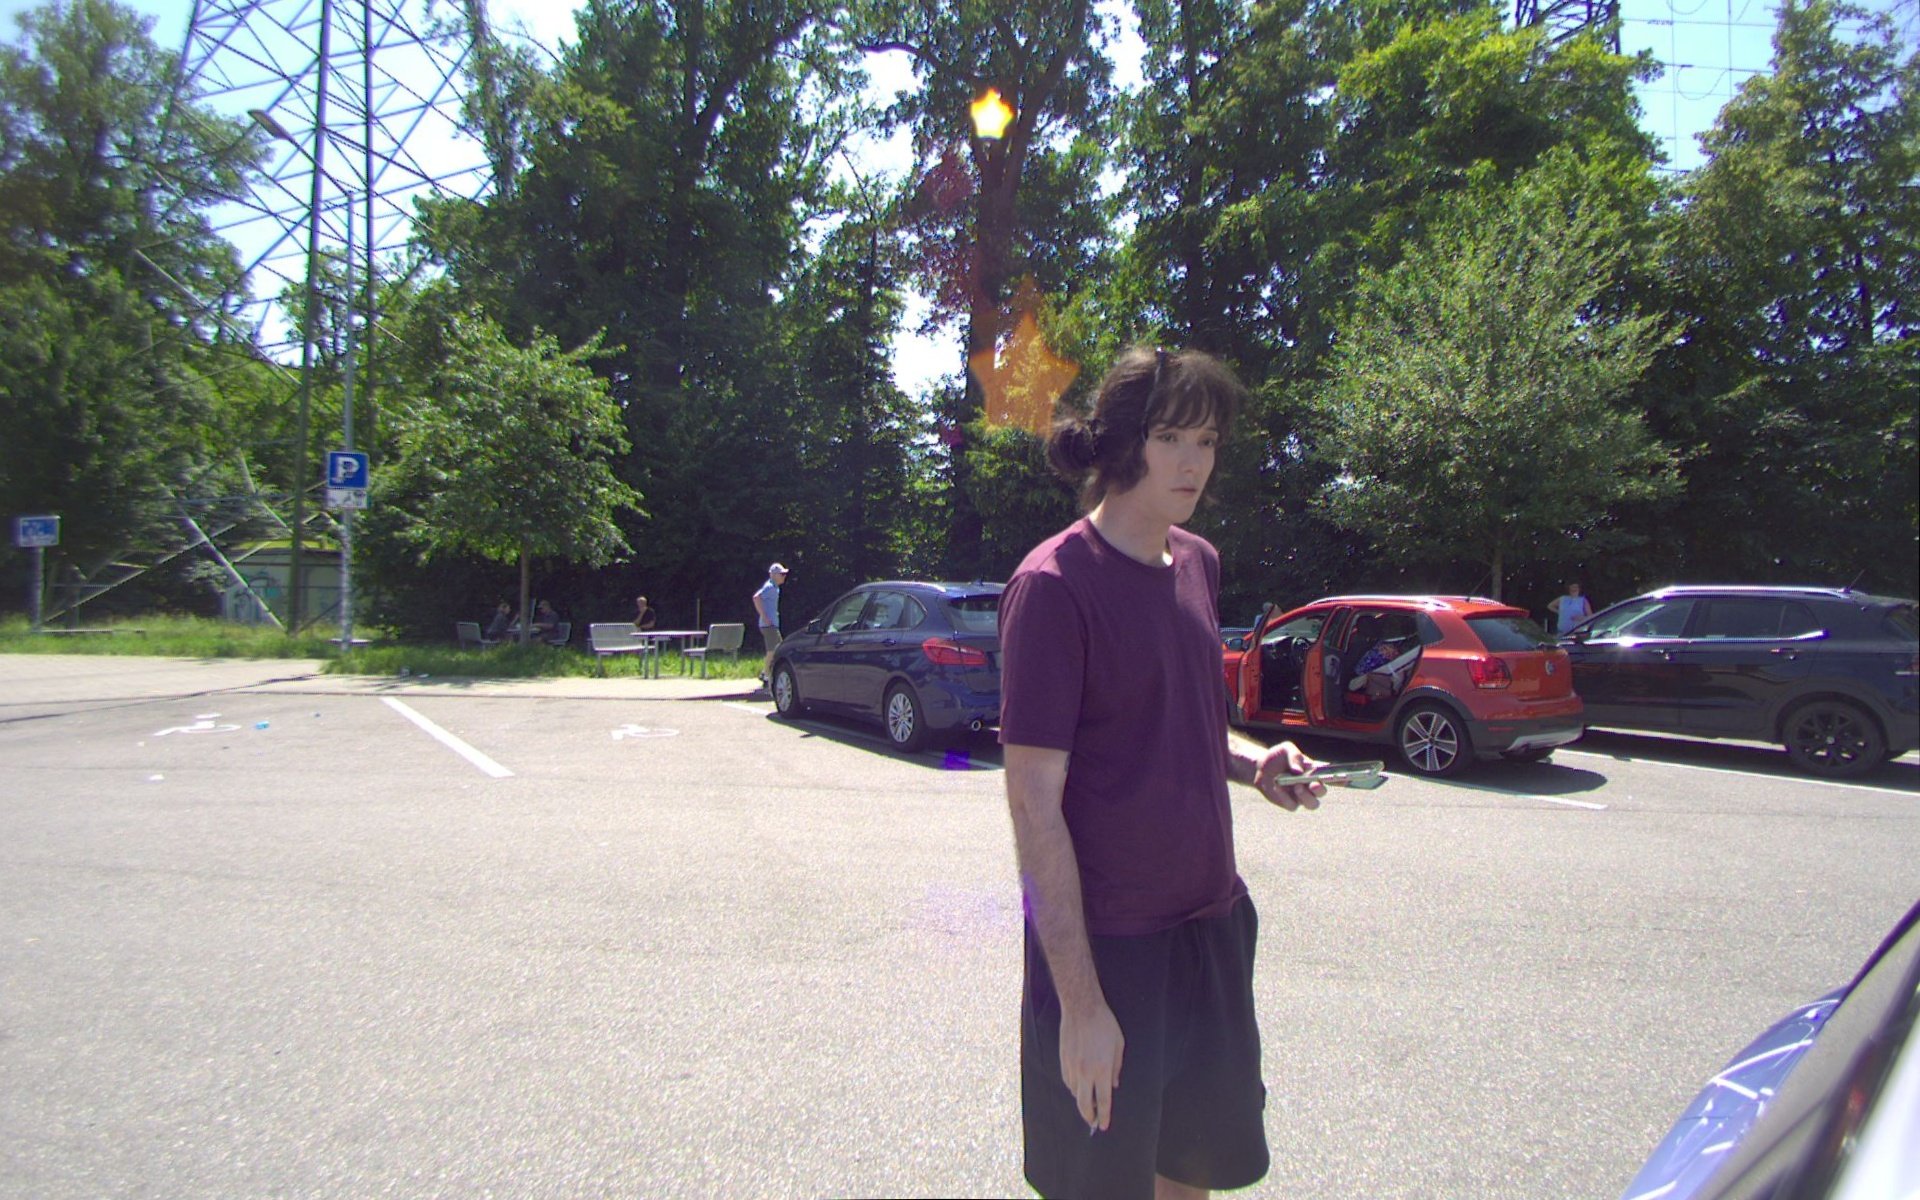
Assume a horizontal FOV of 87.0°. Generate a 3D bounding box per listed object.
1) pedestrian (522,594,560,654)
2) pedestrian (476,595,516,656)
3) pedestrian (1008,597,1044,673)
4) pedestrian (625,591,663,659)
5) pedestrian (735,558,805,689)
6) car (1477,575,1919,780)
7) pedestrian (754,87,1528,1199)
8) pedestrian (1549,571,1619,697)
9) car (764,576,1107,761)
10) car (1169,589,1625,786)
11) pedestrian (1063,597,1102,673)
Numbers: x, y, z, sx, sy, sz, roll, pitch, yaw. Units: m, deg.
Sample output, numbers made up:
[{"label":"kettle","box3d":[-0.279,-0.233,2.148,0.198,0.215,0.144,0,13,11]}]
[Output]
[{"label":"pedestrian","box3d":[-9.721,0.545,23.482,0.687,1.352,0.563,0,0,-40]},{"label":"pedestrian","box3d":[-10.479,0.555,22.844,0.687,1.352,0.563,0,0,-40]},{"label":"pedestrian","box3d":[1.107,0.584,17.084,0.576,1.251,0.697,0,-1,1]},{"label":"pedestrian","box3d":[-6.650,0.520,21.320,0.553,1.408,0.700,0,0,2]},{"label":"pedestrian","box3d":[-2.640,0.308,14.088,0.666,1.754,0.830,0,0,14]},{"label":"car","box3d":[7.257,0.594,9.710,1.707,1.607,3.732,1,0,-39]},{"label":"pedestrian","box3d":[0.258,0.416,1.601,0.846,1.857,0.864,0,0,-38]},{"label":"pedestrian","box3d":[9.421,0.504,15.301,0.754,1.854,0.519,0,0,13]},{"label":"car","box3d":[-0.445,0.556,10.669,1.776,1.562,3.940,1,0,-34]},{"label":"car","box3d":[3.892,0.644,9.595,1.559,1.467,3.737,1,0,-33]},{"label":"pedestrian","box3d":[2.054,0.579,17.018,0.576,1.251,0.697,0,-1,1]}]
